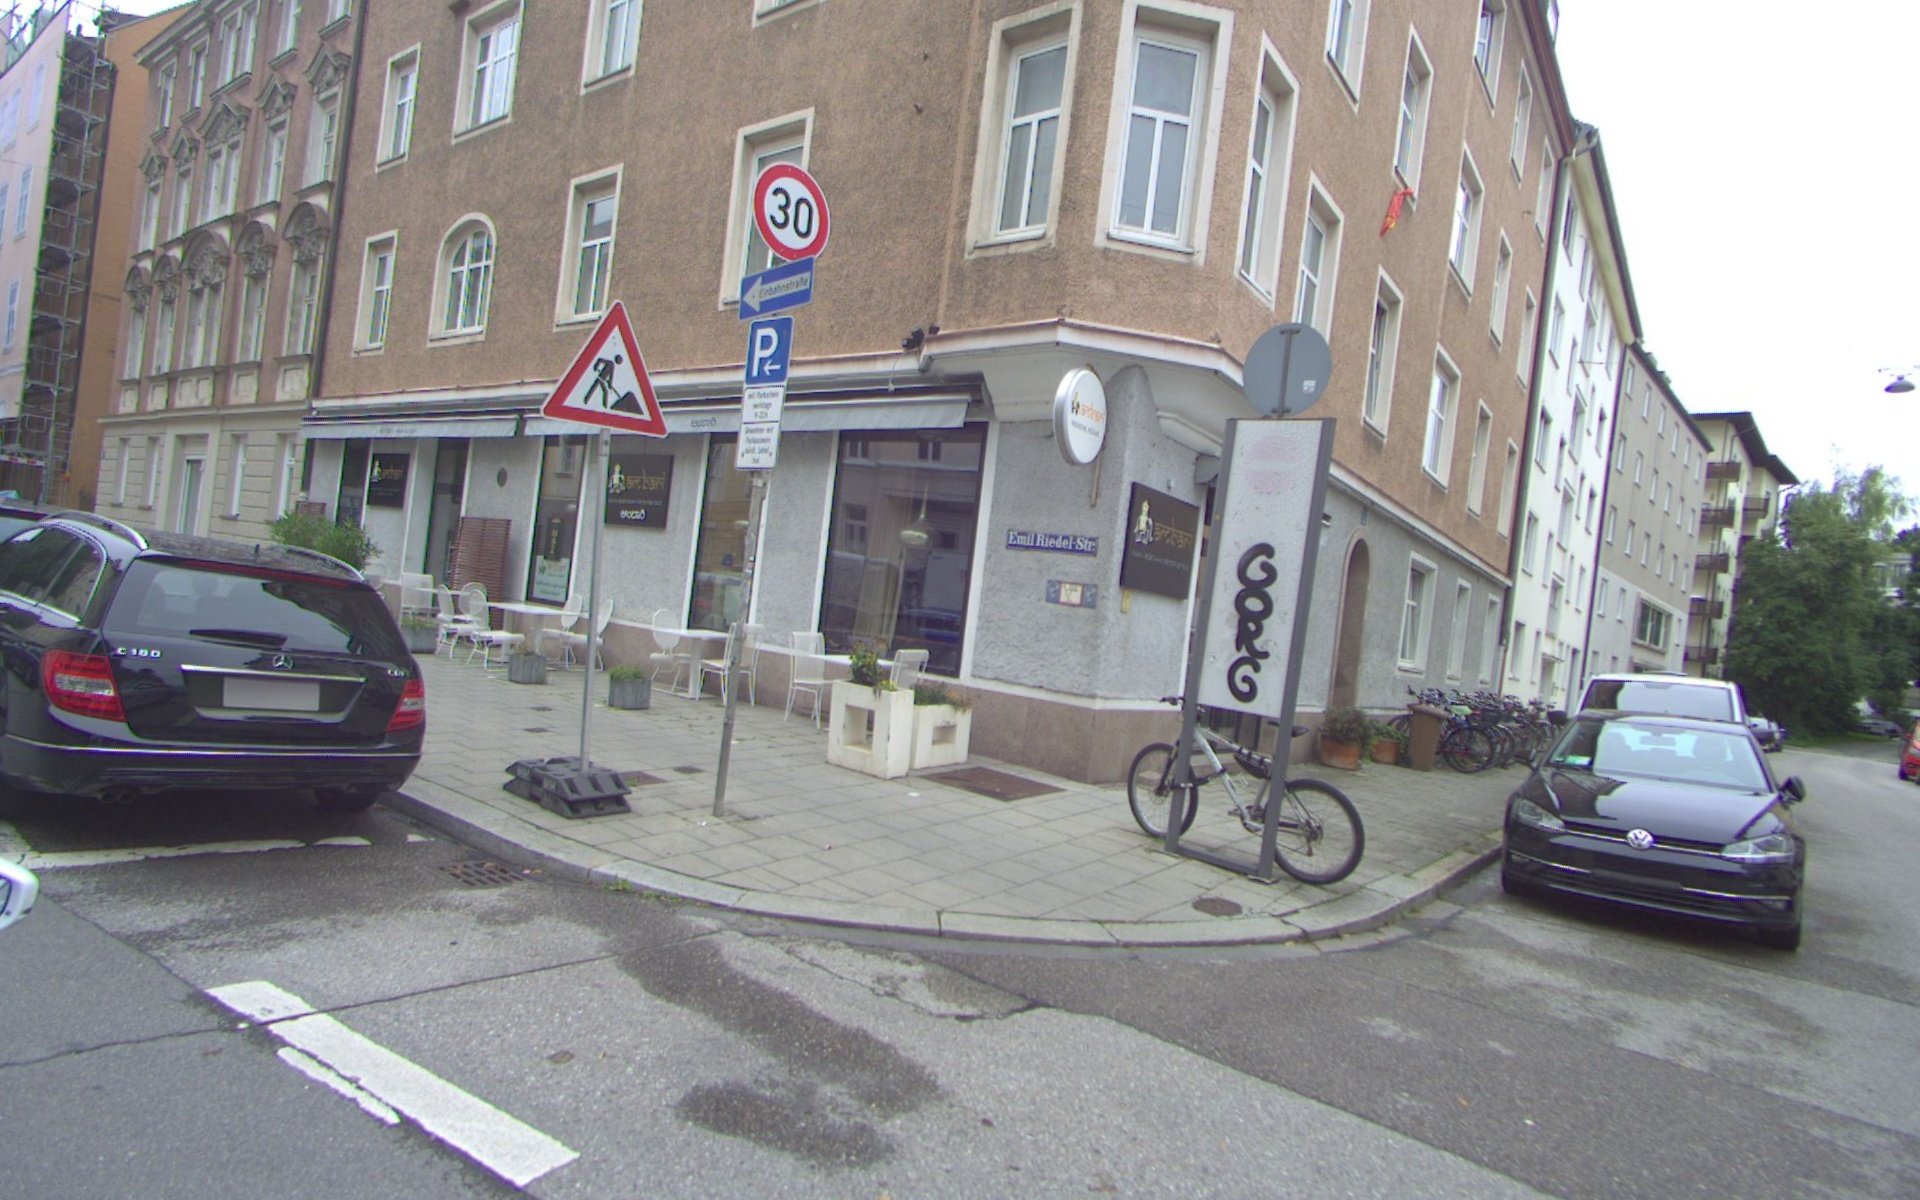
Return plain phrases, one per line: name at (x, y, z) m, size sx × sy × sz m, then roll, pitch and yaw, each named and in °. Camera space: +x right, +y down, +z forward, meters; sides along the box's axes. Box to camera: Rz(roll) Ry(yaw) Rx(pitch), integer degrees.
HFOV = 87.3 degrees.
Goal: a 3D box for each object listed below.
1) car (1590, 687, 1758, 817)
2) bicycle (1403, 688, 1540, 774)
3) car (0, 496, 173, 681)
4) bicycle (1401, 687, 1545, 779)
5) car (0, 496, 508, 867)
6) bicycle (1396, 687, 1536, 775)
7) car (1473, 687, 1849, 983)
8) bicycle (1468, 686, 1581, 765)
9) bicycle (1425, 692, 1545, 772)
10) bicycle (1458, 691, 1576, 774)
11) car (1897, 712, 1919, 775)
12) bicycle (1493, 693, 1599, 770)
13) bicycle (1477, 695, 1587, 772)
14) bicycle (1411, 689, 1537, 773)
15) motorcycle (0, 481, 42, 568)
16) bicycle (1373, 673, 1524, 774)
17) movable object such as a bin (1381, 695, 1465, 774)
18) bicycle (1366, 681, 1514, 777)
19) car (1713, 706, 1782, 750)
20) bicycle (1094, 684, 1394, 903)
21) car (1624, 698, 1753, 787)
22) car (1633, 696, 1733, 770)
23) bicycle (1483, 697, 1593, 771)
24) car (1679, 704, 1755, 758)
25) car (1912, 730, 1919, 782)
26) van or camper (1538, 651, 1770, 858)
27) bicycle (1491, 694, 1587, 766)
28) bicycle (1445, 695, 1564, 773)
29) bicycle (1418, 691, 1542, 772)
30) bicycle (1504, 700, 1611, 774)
car at (12.153, 2.449, 17.006) m, size 1.950 × 1.664 × 3.981 m, roll 6°, pitch 0°, yaw 39°
bicycle at (8.540, 2.182, 16.847) m, size 1.892 × 1.158 × 0.418 m, roll 7°, pitch 0°, yaw 10°
car at (-8.944, -0.249, 9.221) m, size 4.118 × 1.411 × 1.572 m, roll 6°, pitch -1°, yaw 36°
bicycle at (8.130, 2.089, 16.024) m, size 1.893 × 1.158 × 0.417 m, roll 7°, pitch 0°, yaw 21°
car at (-4.908, 0.208, 6.074) m, size 4.715 × 1.422 × 1.847 m, roll 7°, pitch -1°, yaw 37°
bicycle at (8.228, 2.120, 16.403) m, size 1.892 × 1.158 × 0.418 m, roll 7°, pitch 0°, yaw 10°
car at (5.586, 1.606, 8.045) m, size 1.864 × 1.505 × 3.872 m, roll 6°, pitch -1°, yaw 38°
bicycle at (11.053, 2.453, 19.731) m, size 1.765 × 1.275 × 0.418 m, roll 7°, pitch 1°, yaw 10°
bicycle at (9.385, 2.350, 18.023) m, size 1.765 × 1.158 × 0.418 m, roll 7°, pitch 0°, yaw 10°
bicycle at (10.430, 2.473, 18.881) m, size 1.765 × 1.275 × 0.418 m, roll 7°, pitch 1°, yaw 10°
car at (33.202, 4.965, 33.885) m, size 2.037 × 2.002 × 4.413 m, roll 6°, pitch -1°, yaw 41°
bicycle at (13.049, 2.913, 22.430) m, size 1.889 × 1.426 × 0.418 m, roll 7°, pitch 1°, yaw 10°
bicycle at (11.509, 2.683, 20.283) m, size 1.765 × 1.275 × 0.418 m, roll 7°, pitch 1°, yaw 10°
bicycle at (8.819, 2.240, 17.302) m, size 1.765 × 1.158 × 0.418 m, roll 7°, pitch 0°, yaw 10°
motorcycle at (-18.234, -1.487, 19.042) m, size 1.968 × 1.523 × 0.871 m, roll 7°, pitch -1°, yaw 39°
bicycle at (7.587, 1.908, 15.703) m, size 1.893 × 1.157 × 0.475 m, roll 11°, pitch 1°, yaw 11°
movable object such as a bin at (6.824, 1.964, 14.823) m, size 0.952 × 0.962 × 0.733 m, roll 8°, pitch 1°, yaw 30°
bicycle at (7.246, 1.934, 15.275) m, size 1.893 × 1.158 × 0.475 m, roll 7°, pitch 0°, yaw 21°
car at (35.010, 5.684, 44.681) m, size 1.952 × 1.587 × 4.409 m, roll 6°, pitch -2°, yaw 43°
bicycle at (1.831, 1.210, 6.707) m, size 1.776 × 1.018 × 0.495 m, roll 8°, pitch 3°, yaw 40°
car at (16.653, 3.213, 22.882) m, size 1.950 × 1.521 × 4.653 m, roll 7°, pitch -2°, yaw 40°
car at (19.846, 3.552, 27.530) m, size 1.949 × 1.587 × 4.652 m, roll 6°, pitch -1°, yaw 38°
bicycle at (12.348, 2.852, 21.519) m, size 1.889 × 1.275 × 0.418 m, roll 7°, pitch 1°, yaw 10°
car at (28.034, 4.774, 37.191) m, size 1.950 × 1.587 × 4.650 m, roll 6°, pitch -1°, yaw 40°
car at (29.983, 4.802, 29.913) m, size 1.949 × 1.587 × 4.415 m, roll 6°, pitch -2°, yaw 39°
van or camper at (8.891, 1.819, 12.748) m, size 1.933 × 1.941 × 4.898 m, roll 4°, pitch -2°, yaw 38°
bicycle at (13.249, 2.968, 23.011) m, size 1.892 × 1.422 × 0.417 m, roll 7°, pitch 0°, yaw -6°
bicycle at (9.970, 2.449, 18.452) m, size 1.765 × 1.158 × 0.418 m, roll 7°, pitch 0°, yaw 10°
bicycle at (9.085, 2.291, 17.621) m, size 1.765 × 1.158 × 0.418 m, roll 7°, pitch 0°, yaw 10°
bicycle at (12.364, 2.826, 20.854) m, size 1.765 × 1.275 × 0.418 m, roll 7°, pitch 1°, yaw 10°
